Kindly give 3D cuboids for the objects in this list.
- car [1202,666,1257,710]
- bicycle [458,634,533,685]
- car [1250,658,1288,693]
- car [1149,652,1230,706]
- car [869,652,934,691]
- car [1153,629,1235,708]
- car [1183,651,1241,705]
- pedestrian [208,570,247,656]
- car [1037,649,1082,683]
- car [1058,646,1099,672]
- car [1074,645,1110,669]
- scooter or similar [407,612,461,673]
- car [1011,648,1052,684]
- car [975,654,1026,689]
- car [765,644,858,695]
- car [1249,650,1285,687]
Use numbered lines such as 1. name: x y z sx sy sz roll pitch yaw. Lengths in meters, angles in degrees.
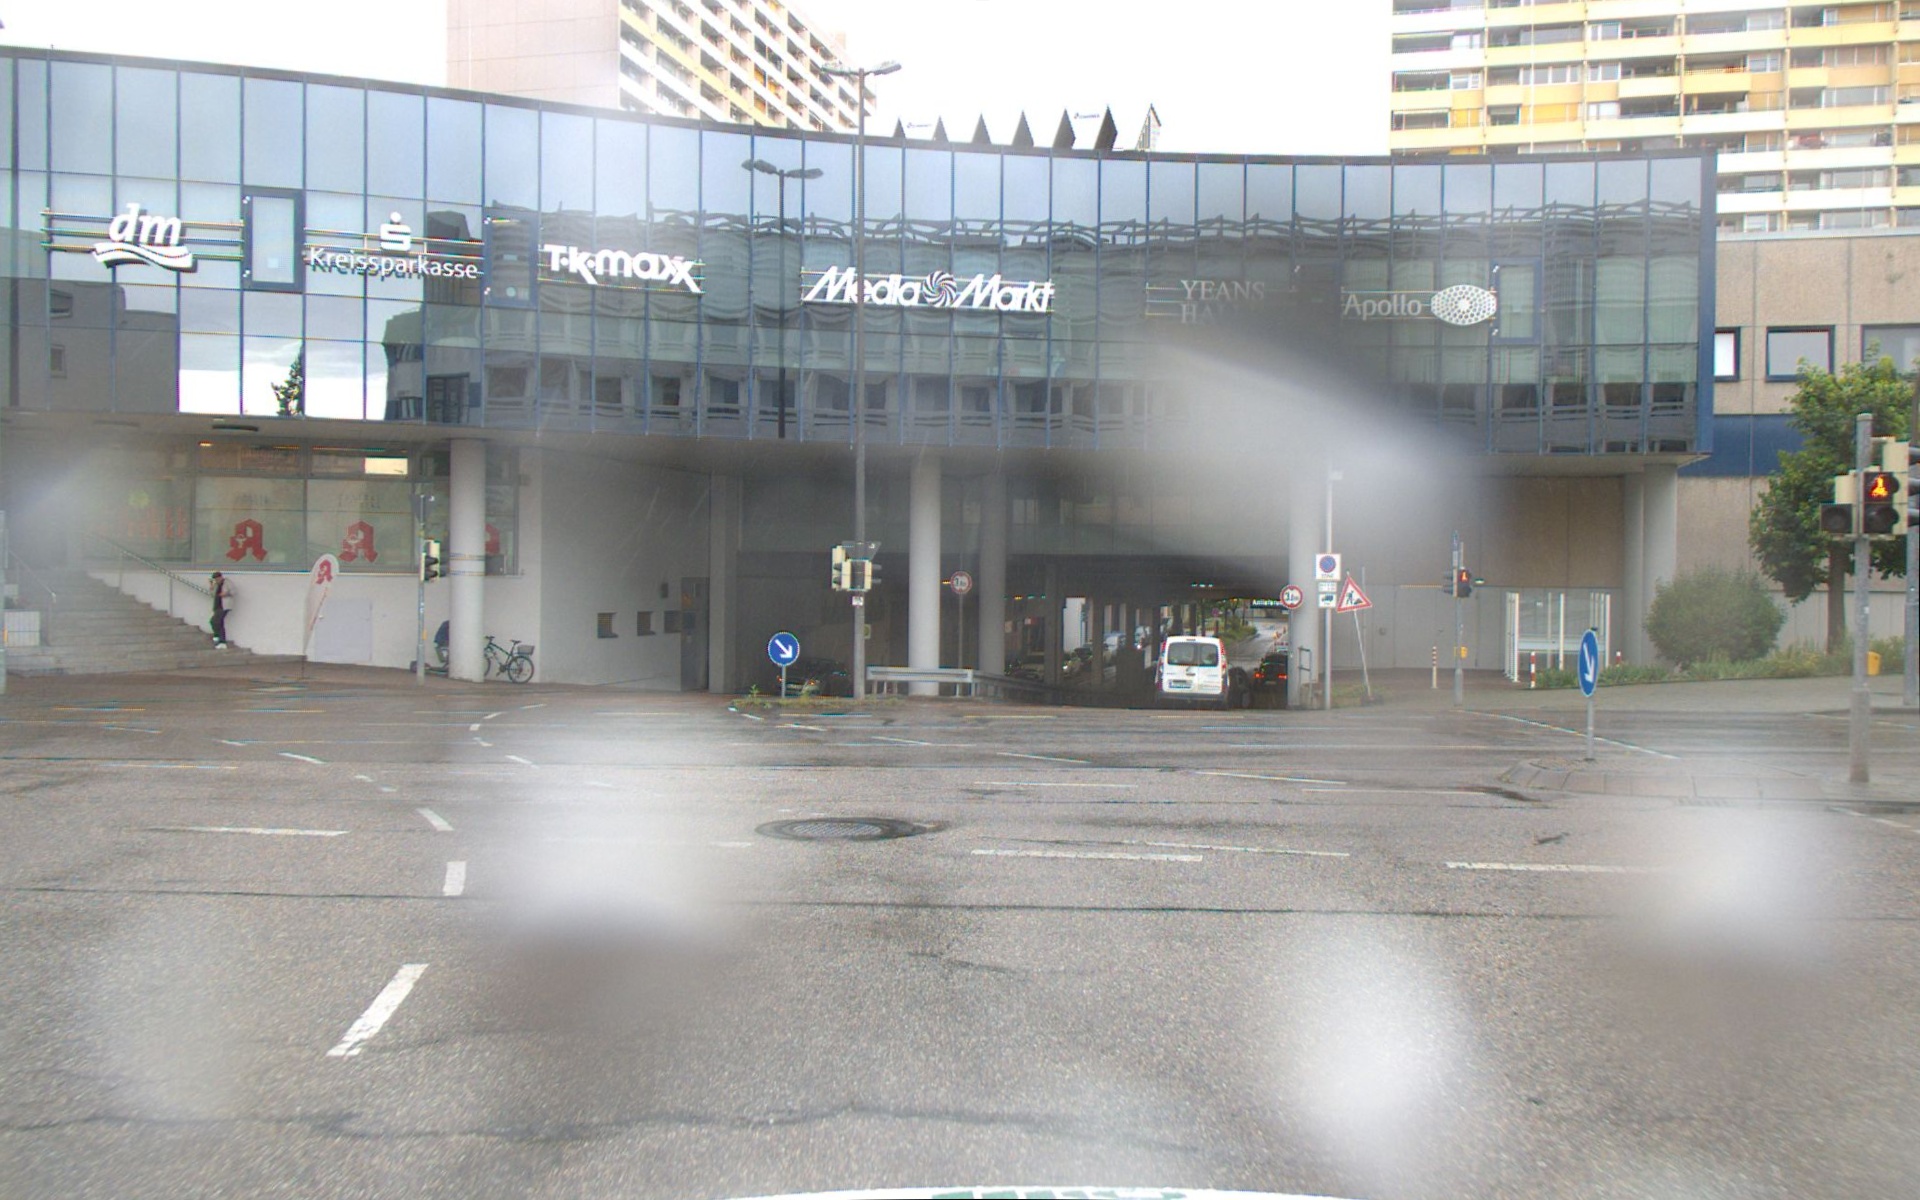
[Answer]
1. car: 9.522 3.069 58.251 1.741 1.425 4.003 0 -1 12
2. bicycle: -11.128 1.429 39.627 1.568 1.035 0.447 8 -3 -34
3. car: 15.631 3.803 83.748 1.847 1.517 3.844 2 0 10
4. car: 6.768 2.331 48.541 1.721 1.490 3.944 0 -3 17
5. car: -2.303 2.843 66.103 1.733 1.490 3.878 0 -2 12
6. car: 5.741 1.641 40.788 1.885 1.829 4.299 0 -1 7
7. car: 8.126 2.498 53.189 1.598 1.640 4.265 0 -3 12
8. pedestrian: -16.818 0.293 37.973 0.644 1.941 0.593 1 0 -11
9. car: 5.689 3.716 94.094 1.951 1.692 4.003 2 0 12
10. car: 7.311 3.626 101.917 1.951 1.489 4.003 0 0 12
11. car: 8.553 3.670 107.020 1.951 1.489 4.003 0 0 10
12. scooter or similar: -12.459 1.015 39.196 1.148 1.397 0.486 2 0 -19
13. car: 3.844 3.487 88.192 1.797 1.758 4.003 1 0 8
14. car: 2.085 3.571 83.266 1.873 1.616 3.942 0 0 12
15. car: -4.795 2.310 54.017 1.852 1.495 4.029 1 -4 13
16. car: 16.402 3.636 88.395 1.802 1.808 3.594 2 0 10
